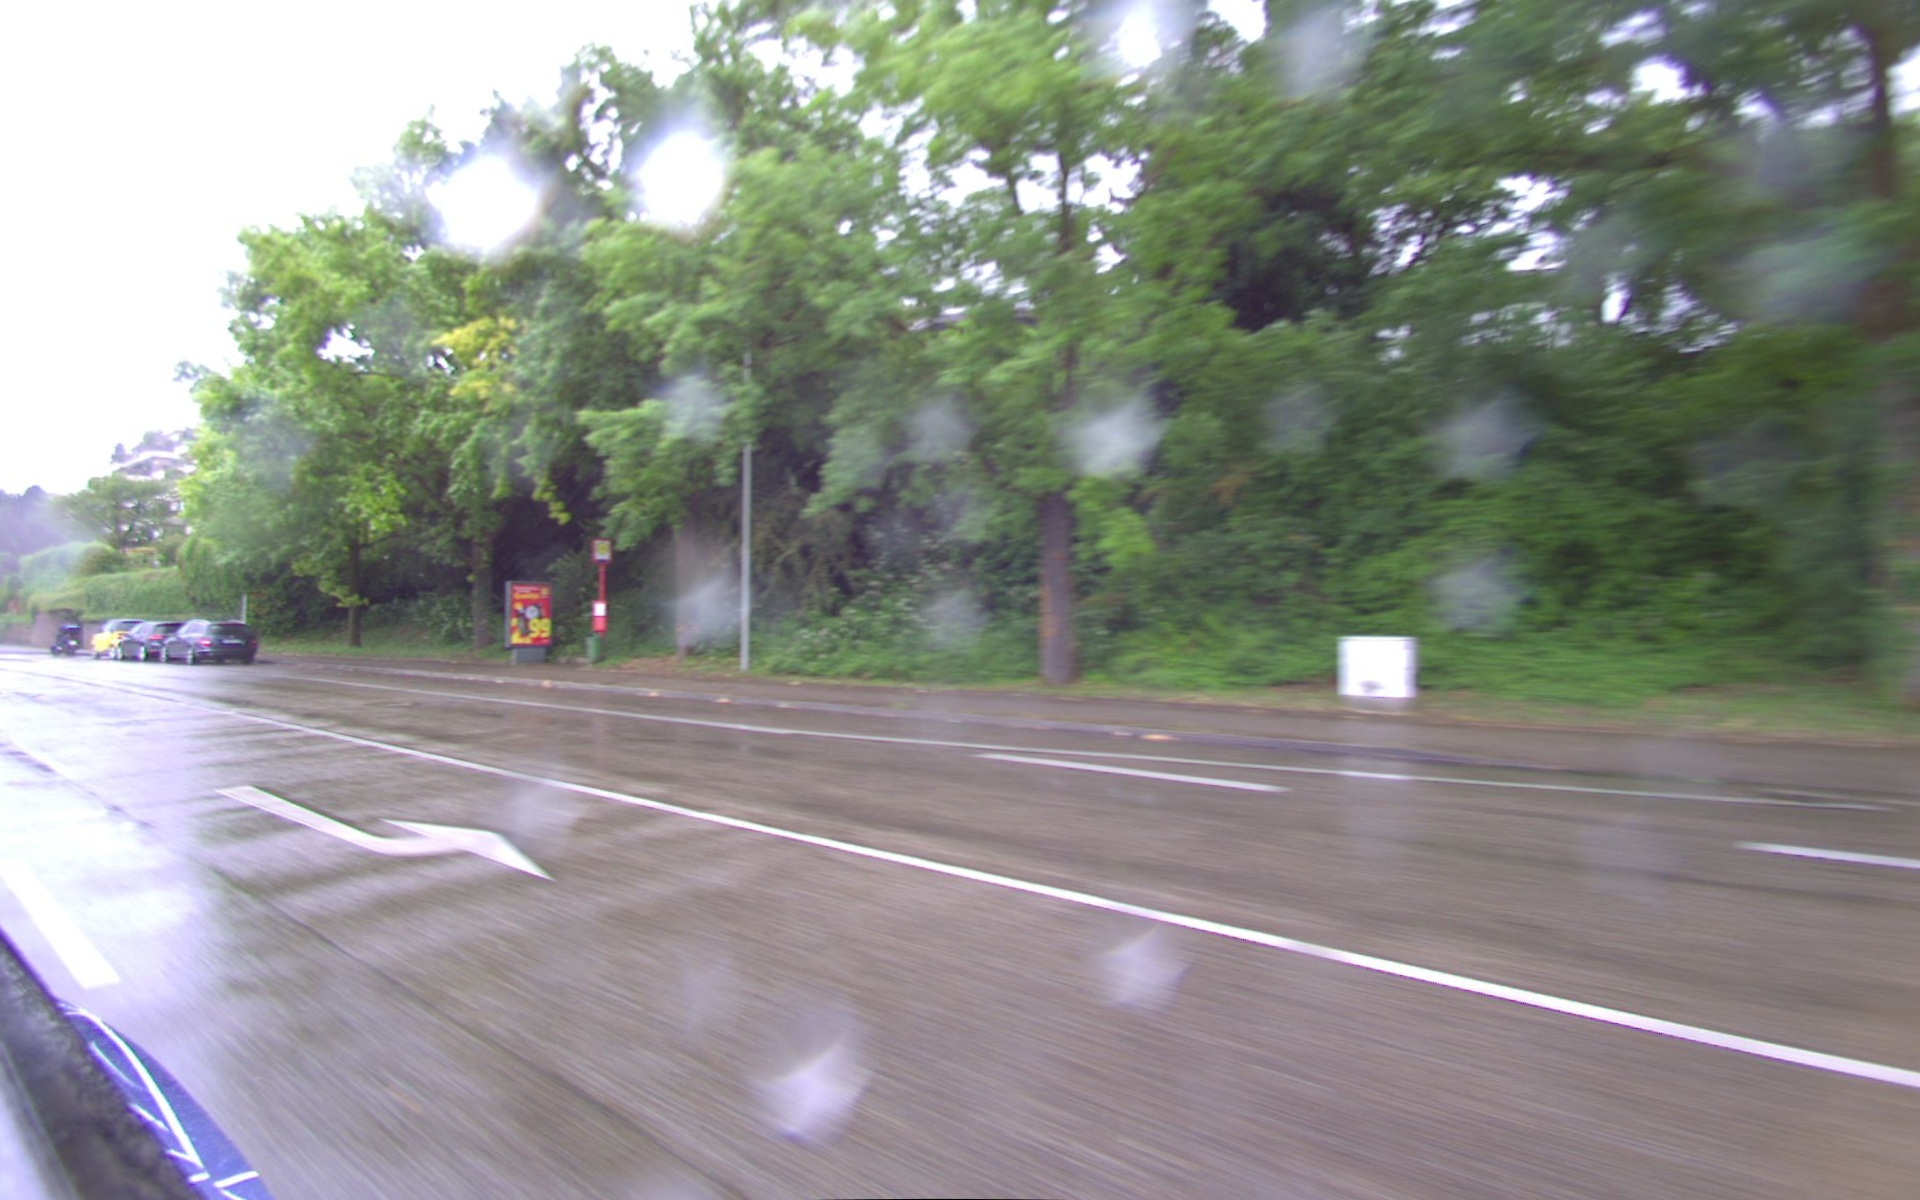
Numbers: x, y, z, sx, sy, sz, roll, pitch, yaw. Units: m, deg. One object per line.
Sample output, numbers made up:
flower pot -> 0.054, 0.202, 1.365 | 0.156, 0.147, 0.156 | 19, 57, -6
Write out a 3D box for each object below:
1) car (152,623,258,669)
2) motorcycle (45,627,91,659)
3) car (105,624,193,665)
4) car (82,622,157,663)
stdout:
car -> -25.563, 1.510, 34.216 | 4.734, 1.430, 1.671 | -1, -2, 38
motorcycle -> -38.546, 1.830, 43.724 | 2.492, 1.351, 0.830 | -1, -2, 34
car -> -29.874, 1.604, 37.255 | 4.094, 1.430, 1.421 | -1, -2, 35
car -> -32.971, 1.650, 39.690 | 2.810, 1.549, 1.423 | -1, -2, 31
